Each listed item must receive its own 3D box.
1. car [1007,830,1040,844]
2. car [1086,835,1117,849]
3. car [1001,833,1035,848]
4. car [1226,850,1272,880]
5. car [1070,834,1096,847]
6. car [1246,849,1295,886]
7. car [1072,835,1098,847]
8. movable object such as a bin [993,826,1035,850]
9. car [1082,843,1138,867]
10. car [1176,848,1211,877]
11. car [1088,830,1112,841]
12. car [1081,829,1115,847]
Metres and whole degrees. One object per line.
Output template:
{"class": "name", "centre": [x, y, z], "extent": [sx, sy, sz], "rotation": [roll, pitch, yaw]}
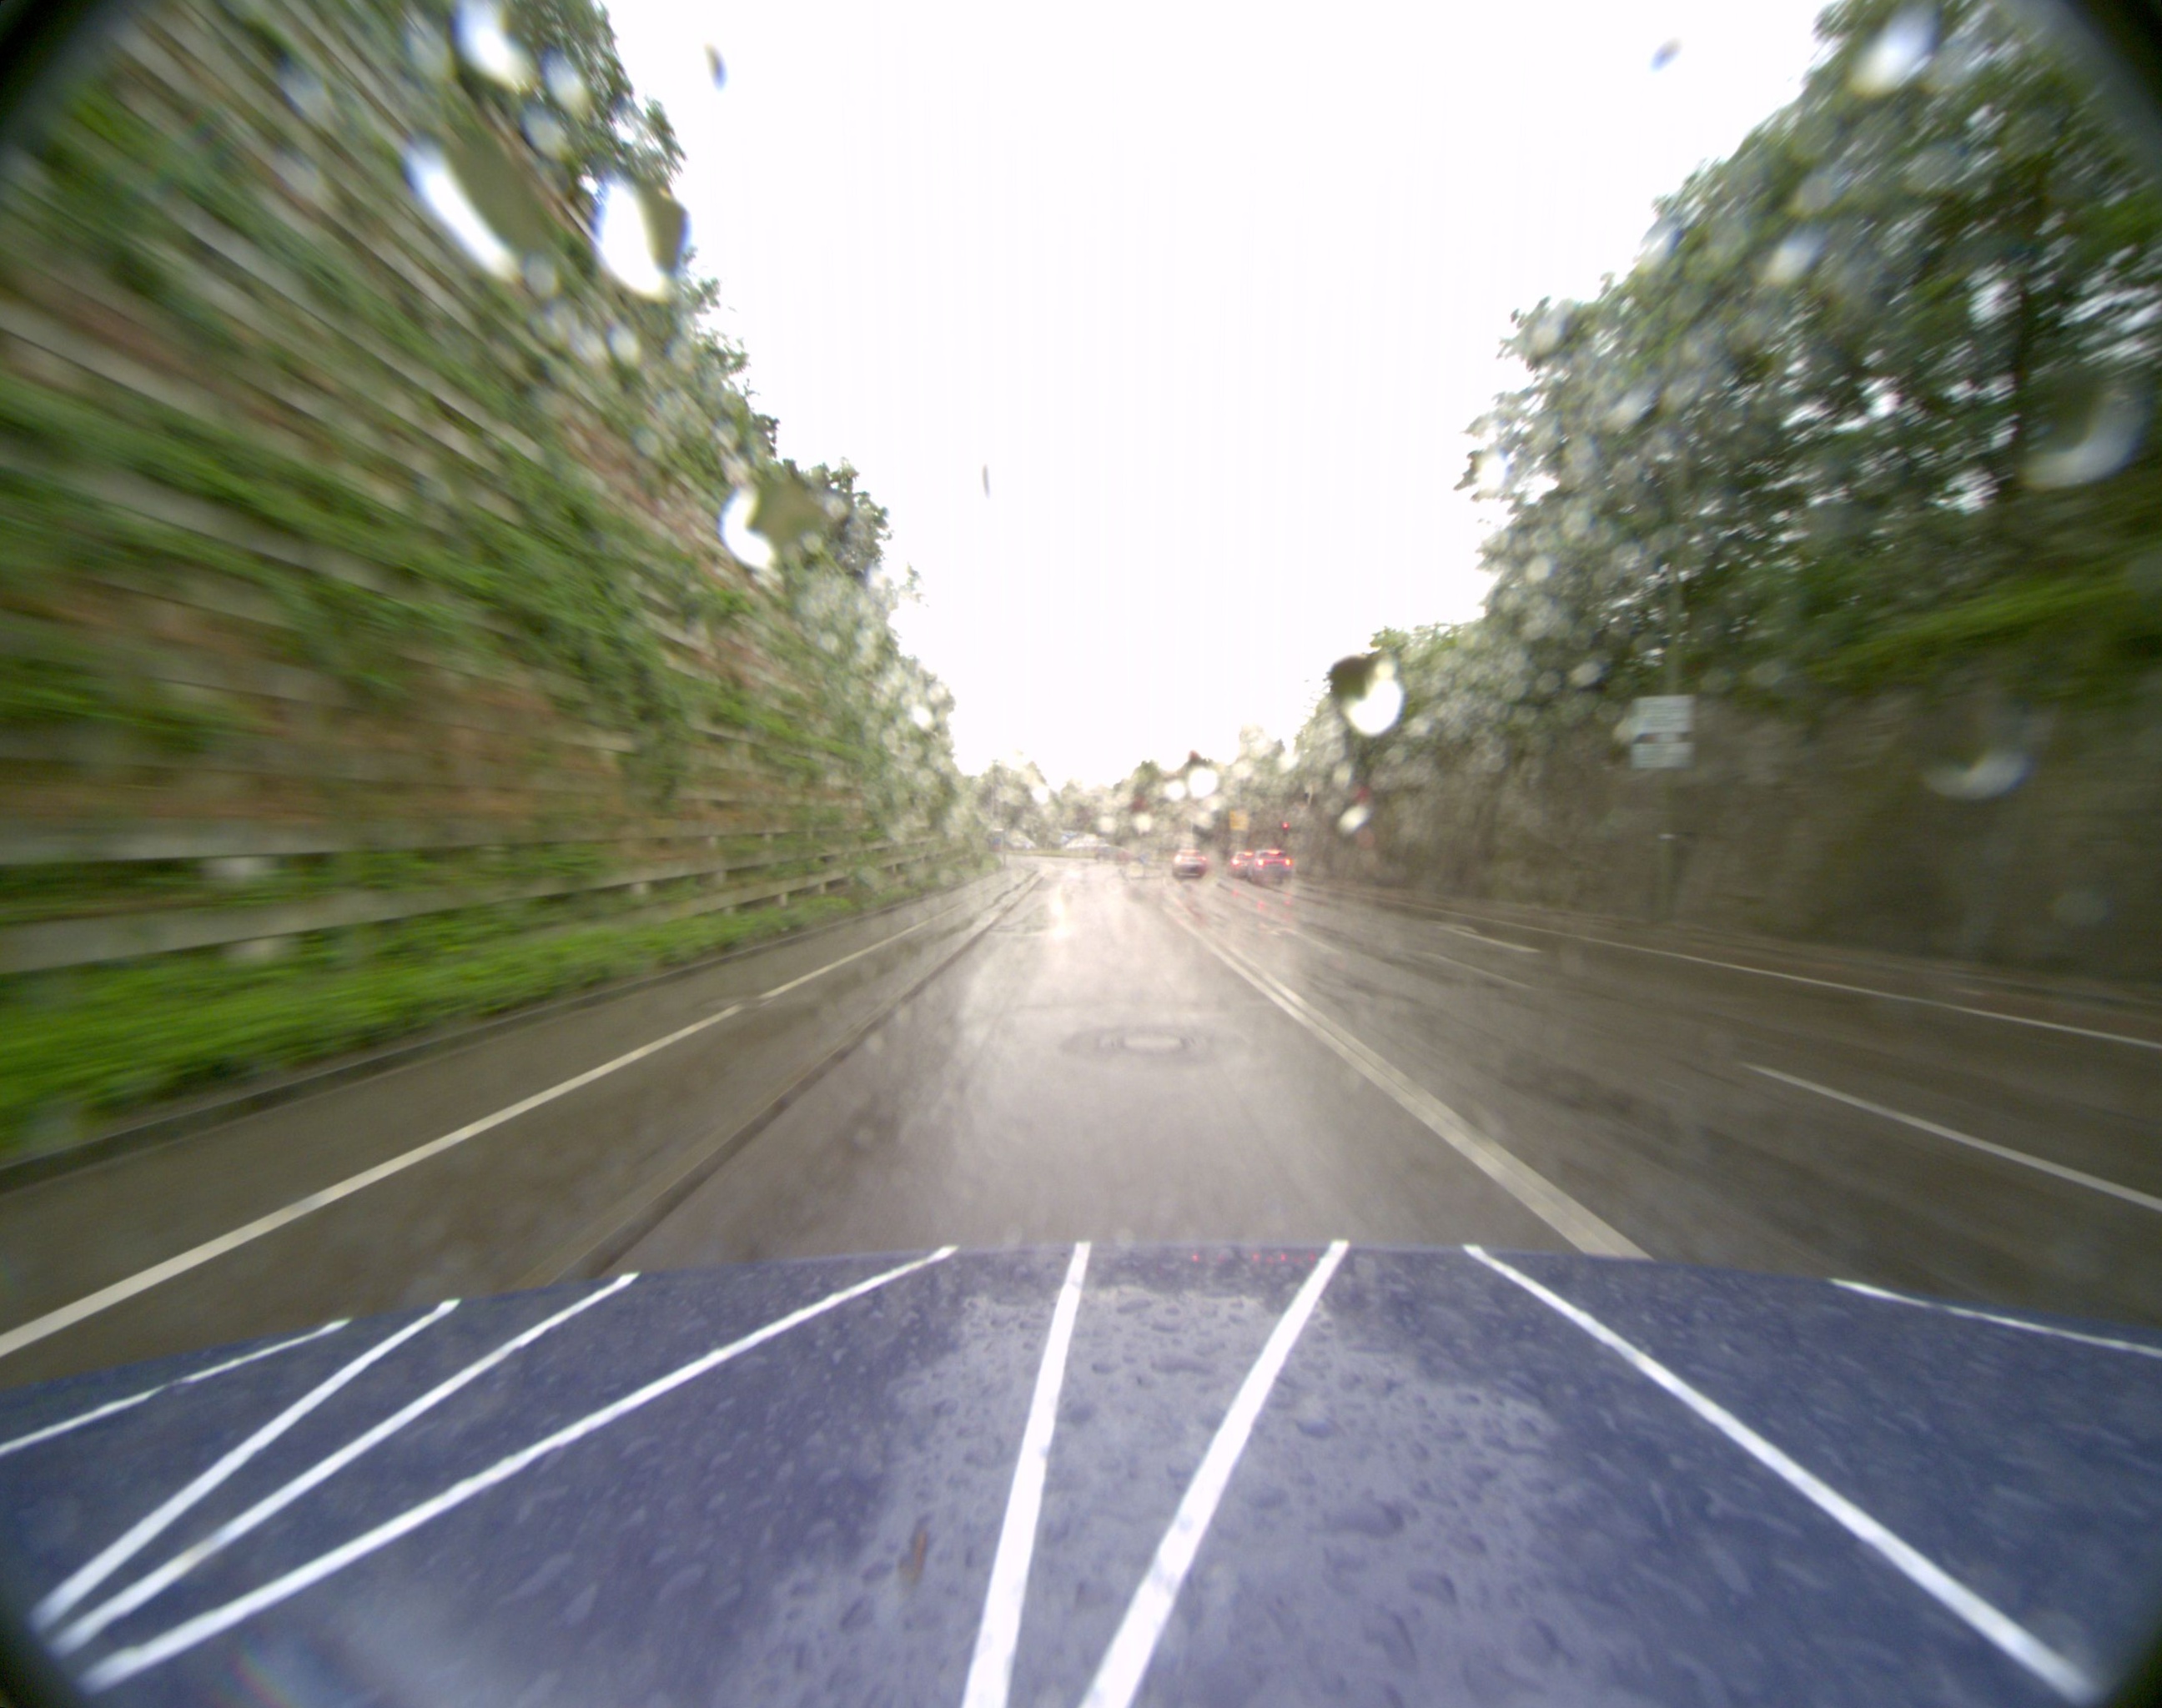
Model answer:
{"class": "car", "centre": [-8.089, -2.459, 107.837], "extent": [4.386, 1.756, 1.921], "rotation": [3, 2, 1]}
{"class": "car", "centre": [2.544, -1.530, 95.570], "extent": [3.822, 1.559, 1.774], "rotation": [3, 2, 0]}
{"class": "car", "centre": [-7.877, -1.727, 95.389], "extent": [3.997, 1.565, 1.670], "rotation": [3, 2, 0]}
{"class": "car", "centre": [9.703, 0.587, 44.231], "extent": [1.997, 1.494, 4.730], "rotation": [4, 2, 6]}
{"class": "car", "centre": [0.299, -2.165, 119.944], "extent": [3.961, 1.869, 1.693], "rotation": [3, 2, -4]}
{"class": "car", "centre": [9.154, 0.605, 36.991], "extent": [1.818, 1.648, 4.052], "rotation": [1, 1, 8]}
{"class": "car", "centre": [0.644, -2.037, 117.479], "extent": [3.880, 1.619, 1.693], "rotation": [3, 2, -4]}
{"class": "movable object such as a bin", "centre": [-7.997, -1.948, 89.659], "extent": [2.316, 2.671, 5.686], "rotation": [2, 1, -35]}
{"class": "car", "centre": [2.417, 0.064, 62.766], "extent": [4.384, 1.867, 1.938], "rotation": [1, 1, 11]}
{"class": "car", "centre": [6.399, 0.460, 43.518], "extent": [1.872, 1.592, 4.002], "rotation": [0, 0, 7]}
{"class": "car", "centre": [2.869, -2.814, 114.850], "extent": [3.478, 1.531, 1.447], "rotation": [3, 2, -2]}
{"class": "car", "centre": [2.154, -2.069, 98.002], "extent": [4.232, 1.969, 1.904], "rotation": [3, 2, 0]}
